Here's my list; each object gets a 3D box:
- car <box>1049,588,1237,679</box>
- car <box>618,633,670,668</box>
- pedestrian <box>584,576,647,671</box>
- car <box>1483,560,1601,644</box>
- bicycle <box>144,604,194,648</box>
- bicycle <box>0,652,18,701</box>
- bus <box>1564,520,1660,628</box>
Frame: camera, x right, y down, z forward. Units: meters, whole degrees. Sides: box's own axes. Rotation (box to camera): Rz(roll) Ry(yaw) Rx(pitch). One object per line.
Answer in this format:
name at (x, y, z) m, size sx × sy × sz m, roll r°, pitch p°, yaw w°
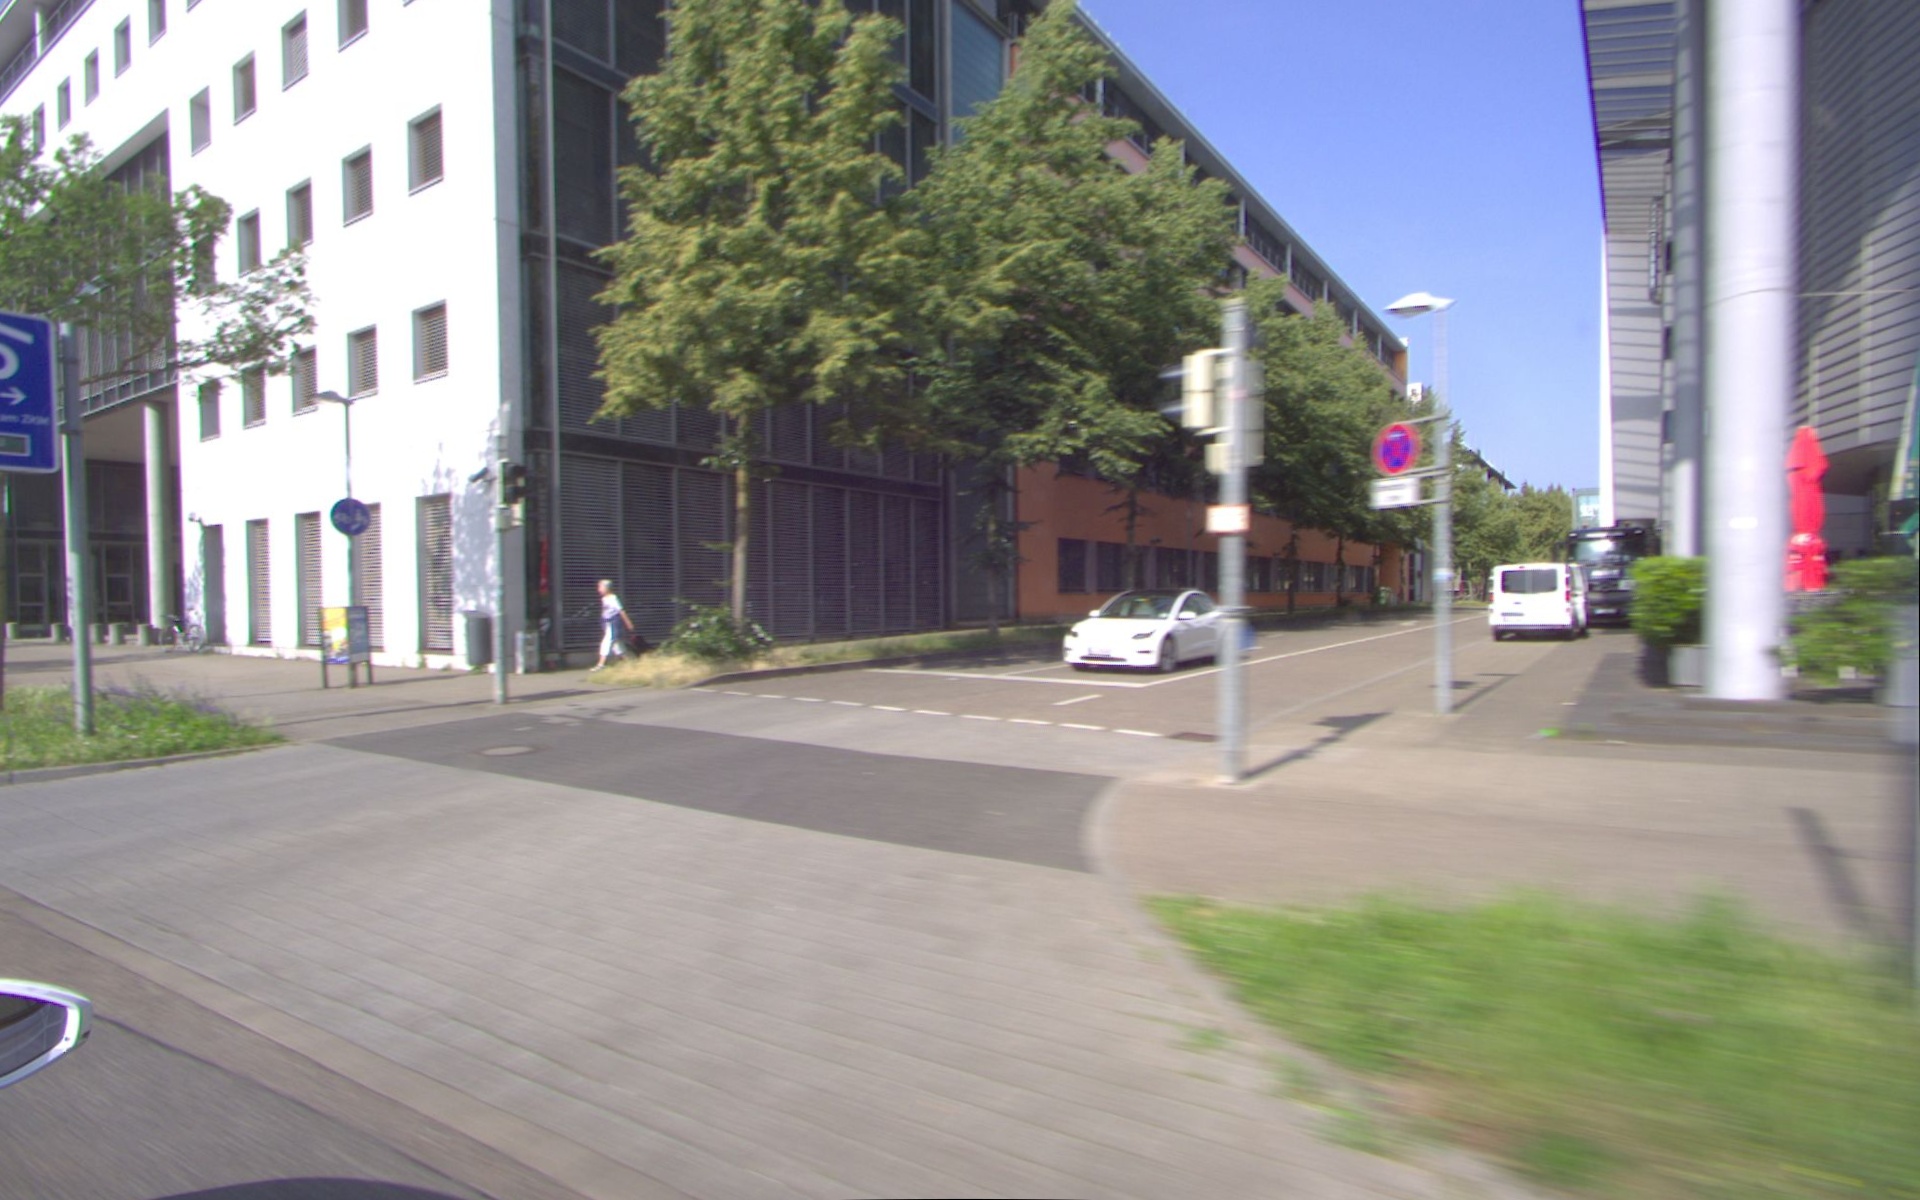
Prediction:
car at (3.539, 0.527, 18.697) m, size 1.875 × 1.484 × 4.308 m, roll 0°, pitch 1°, yaw 34°
car at (-5.860, 0.929, 18.578) m, size 0.491 × 0.595 × 0.763 m, roll 0°, pitch 0°, yaw 34°
pedestrian at (-6.127, 0.403, 17.812) m, size 0.703 × 1.637 × 0.775 m, roll 0°, pitch 1°, yaw 34°
car at (15.613, 0.046, 26.749) m, size 2.044 × 2.040 × 4.860 m, roll -1°, pitch 0°, yaw 38°
bicycle at (-20.313, 0.661, 25.722) m, size 1.528 × 1.101 × 0.492 m, roll -1°, pitch 2°, yaw 32°
bicycle at (-13.478, 1.105, 13.335) m, size 0.515 × 0.641 × 1.263 m, roll -1°, pitch 6°, yaw 42°
bus at (22.006, -0.777, 33.791) m, size 2.453 × 3.190 × 7.799 m, roll -1°, pitch 0°, yaw 34°
